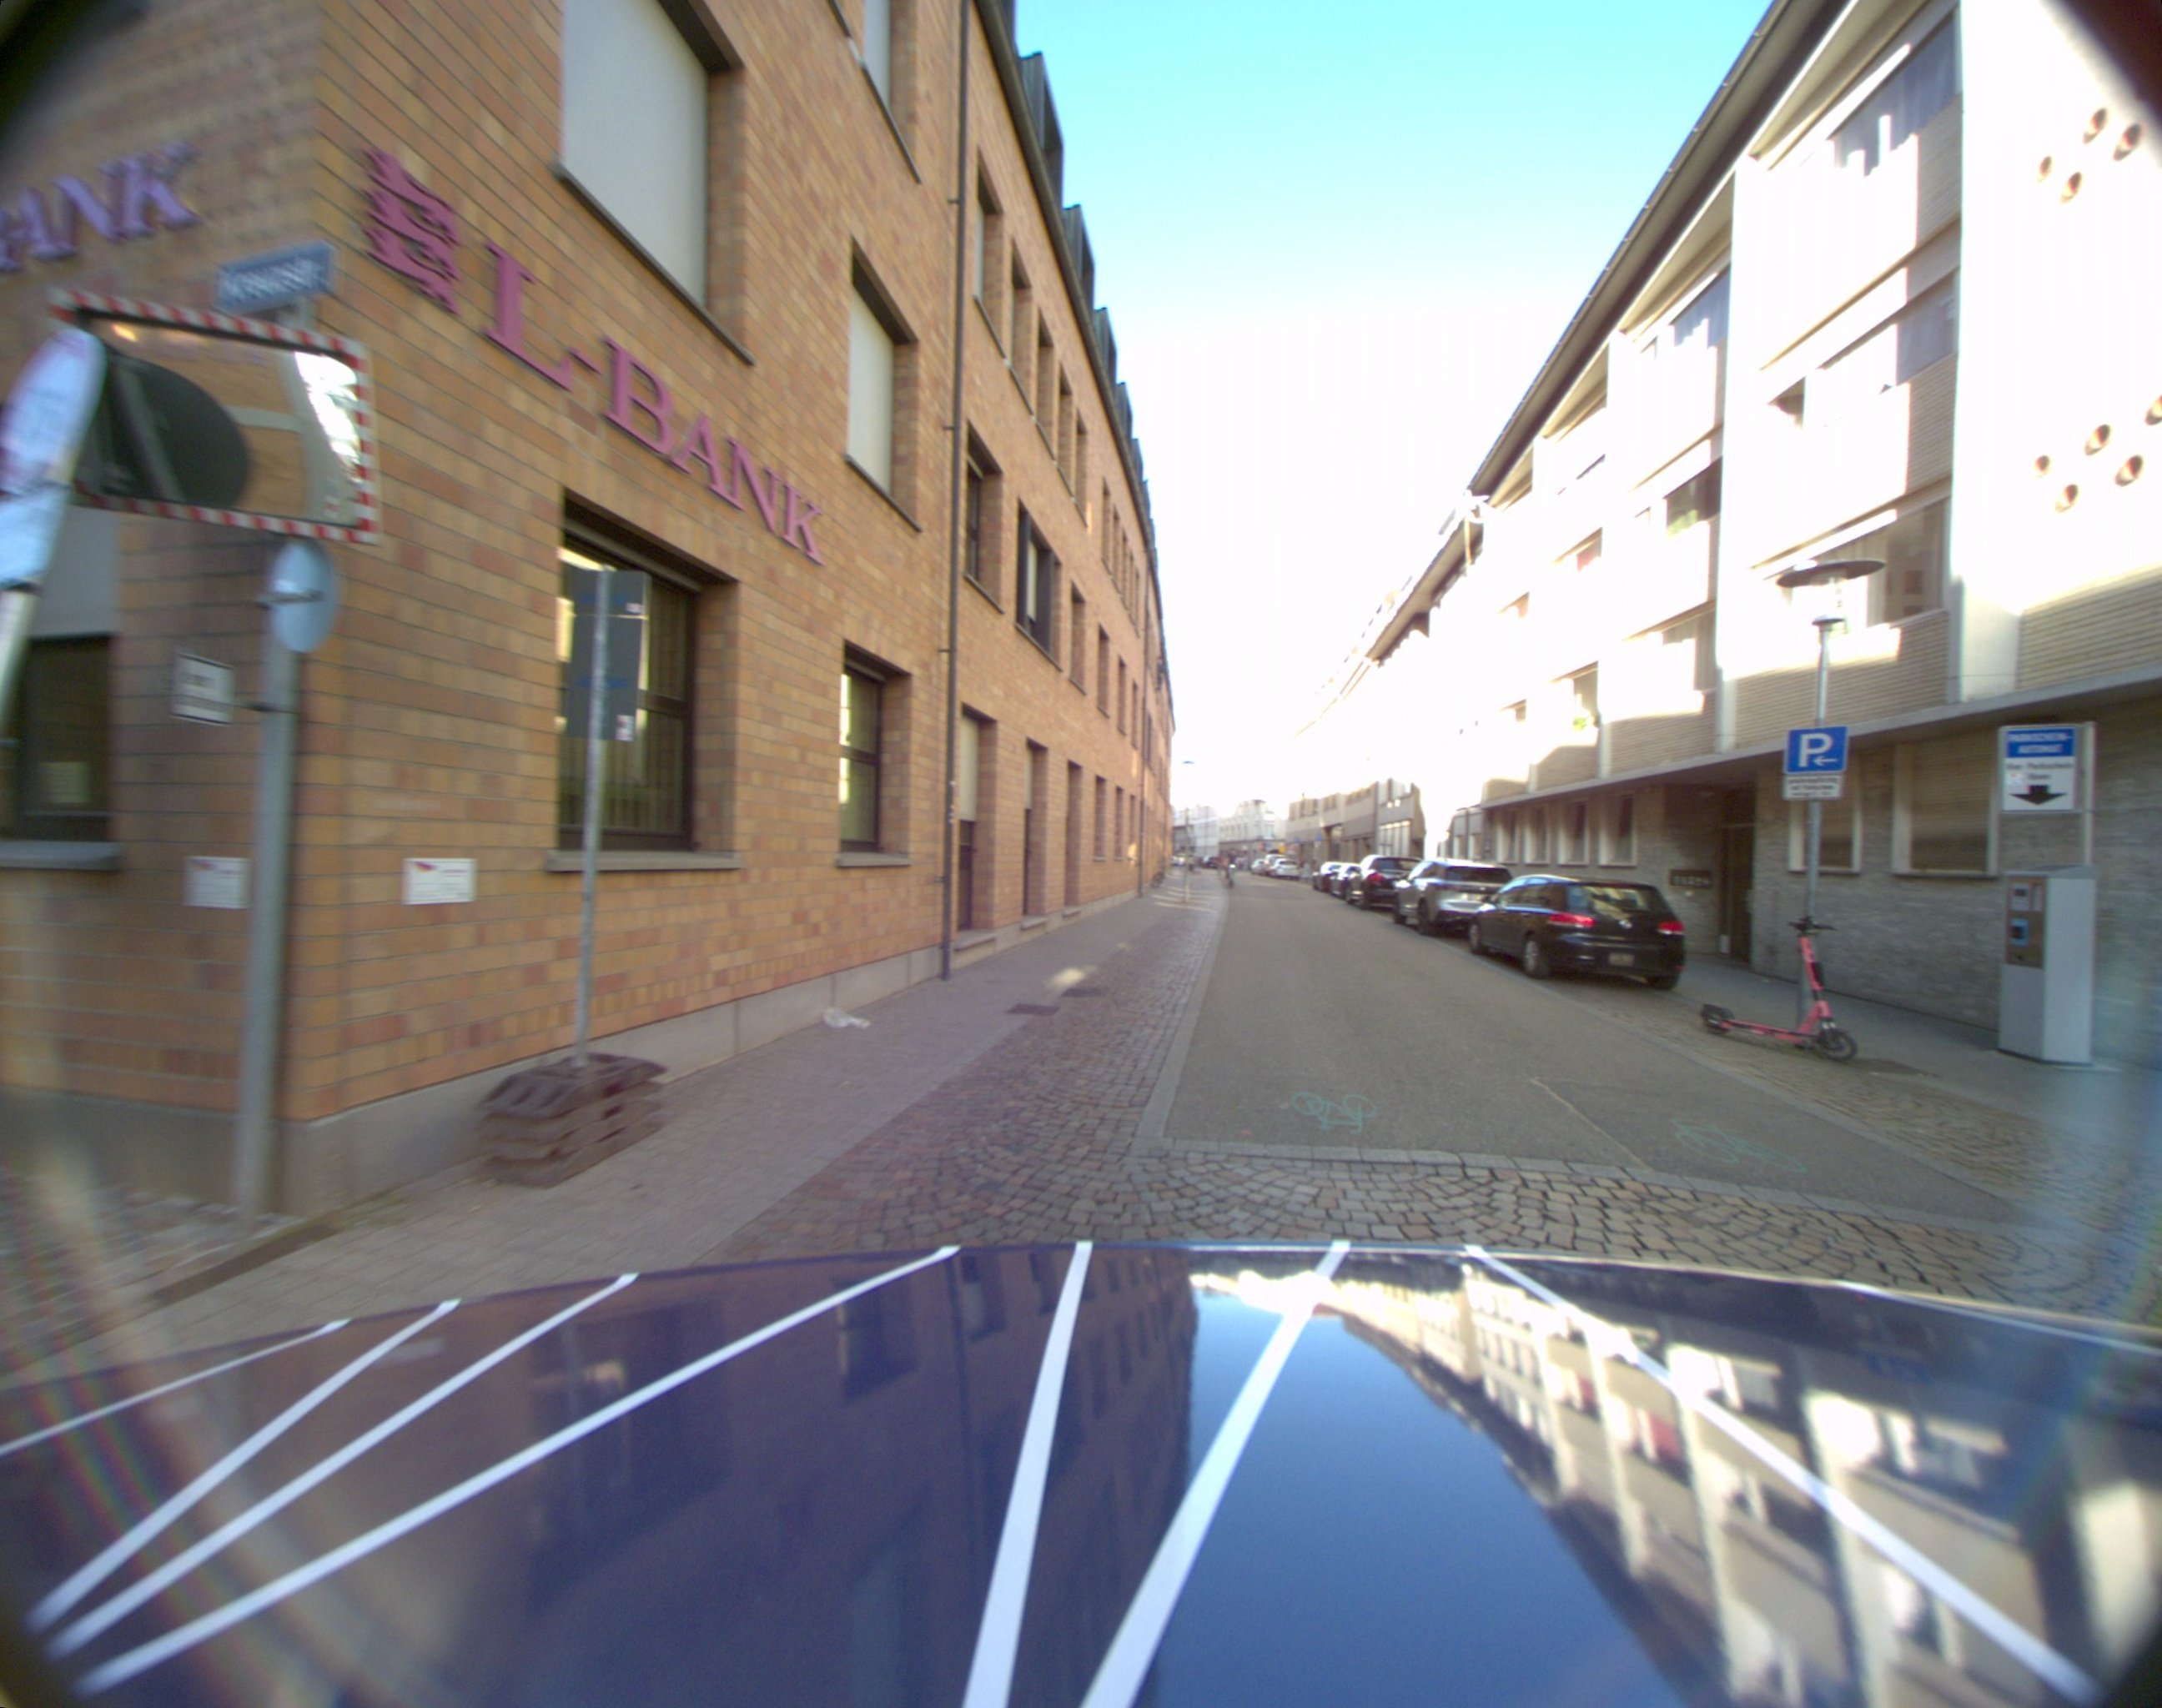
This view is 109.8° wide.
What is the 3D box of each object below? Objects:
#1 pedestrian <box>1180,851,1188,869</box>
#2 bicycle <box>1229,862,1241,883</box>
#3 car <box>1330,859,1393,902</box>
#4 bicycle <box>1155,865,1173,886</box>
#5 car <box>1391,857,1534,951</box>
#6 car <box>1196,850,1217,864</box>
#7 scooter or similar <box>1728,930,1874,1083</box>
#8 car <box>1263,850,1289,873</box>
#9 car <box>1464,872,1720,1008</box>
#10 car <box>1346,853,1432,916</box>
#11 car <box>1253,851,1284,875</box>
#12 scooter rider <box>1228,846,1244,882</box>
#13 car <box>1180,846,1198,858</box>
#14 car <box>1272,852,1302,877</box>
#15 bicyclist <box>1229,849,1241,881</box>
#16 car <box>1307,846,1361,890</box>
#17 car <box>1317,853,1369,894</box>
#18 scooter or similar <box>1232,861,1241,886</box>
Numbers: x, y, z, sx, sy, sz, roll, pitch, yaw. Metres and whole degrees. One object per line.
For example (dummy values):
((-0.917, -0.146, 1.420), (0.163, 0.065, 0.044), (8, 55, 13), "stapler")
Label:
((8.903, 0.506, 65.749), (0.542, 1.536, 0.405), (3, 1, 10), "pedestrian")
((8.030, 0.935, 39.680), (0.590, 1.046, 1.802), (0, 0, 12), "bicycle")
((10.999, 0.994, 30.043), (1.671, 1.452, 3.867), (4, 1, 11), "car")
((3.855, 0.974, 35.077), (0.642, 0.876, 2.558), (3, 1, 9), "bicycle")
((8.110, 0.959, 16.572), (1.671, 1.651, 4.084), (4, 1, 11), "car")
((16.402, 0.403, 99.308), (1.935, 1.641, 3.835), (2, 1, -2), "car")
((6.373, 1.312, 6.760), (0.209, 1.177, 0.880), (1, 1, -28), "scooter or similar")
((16.044, 0.608, 62.616), (1.691, 1.765, 3.658), (4, 1, 9), "car")
((7.247, 1.095, 11.288), (1.738, 1.477, 3.815), (4, 0, 11), "car")
((9.526, 0.867, 23.790), (1.671, 1.694, 4.016), (4, 1, 11), "car")
((16.944, 0.779, 68.758), (1.998, 2.002, 4.001), (4, 1, 4), "car")
((7.532, 0.503, 36.927), (0.648, 1.716, 0.702), (2, 0, 9), "scooter rider")
((16.423, -0.355, 115.452), (1.935, 1.641, 3.835), (3, 1, -2), "car")
((15.337, 0.774, 56.767), (1.691, 1.669, 3.510), (4, 1, 9), "car")
((8.055, 0.590, 39.752), (0.619, 1.657, 0.824), (-1, 1, 12), "bicyclist")
((12.942, 0.660, 39.095), (1.996, 2.002, 4.004), (4, 1, 11), "car")
((12.095, 0.860, 35.333), (1.671, 1.694, 4.016), (4, 1, 11), "car")
((7.539, 0.935, 36.927), (0.336, 1.179, 1.280), (0, 0, 7), "scooter or similar")
